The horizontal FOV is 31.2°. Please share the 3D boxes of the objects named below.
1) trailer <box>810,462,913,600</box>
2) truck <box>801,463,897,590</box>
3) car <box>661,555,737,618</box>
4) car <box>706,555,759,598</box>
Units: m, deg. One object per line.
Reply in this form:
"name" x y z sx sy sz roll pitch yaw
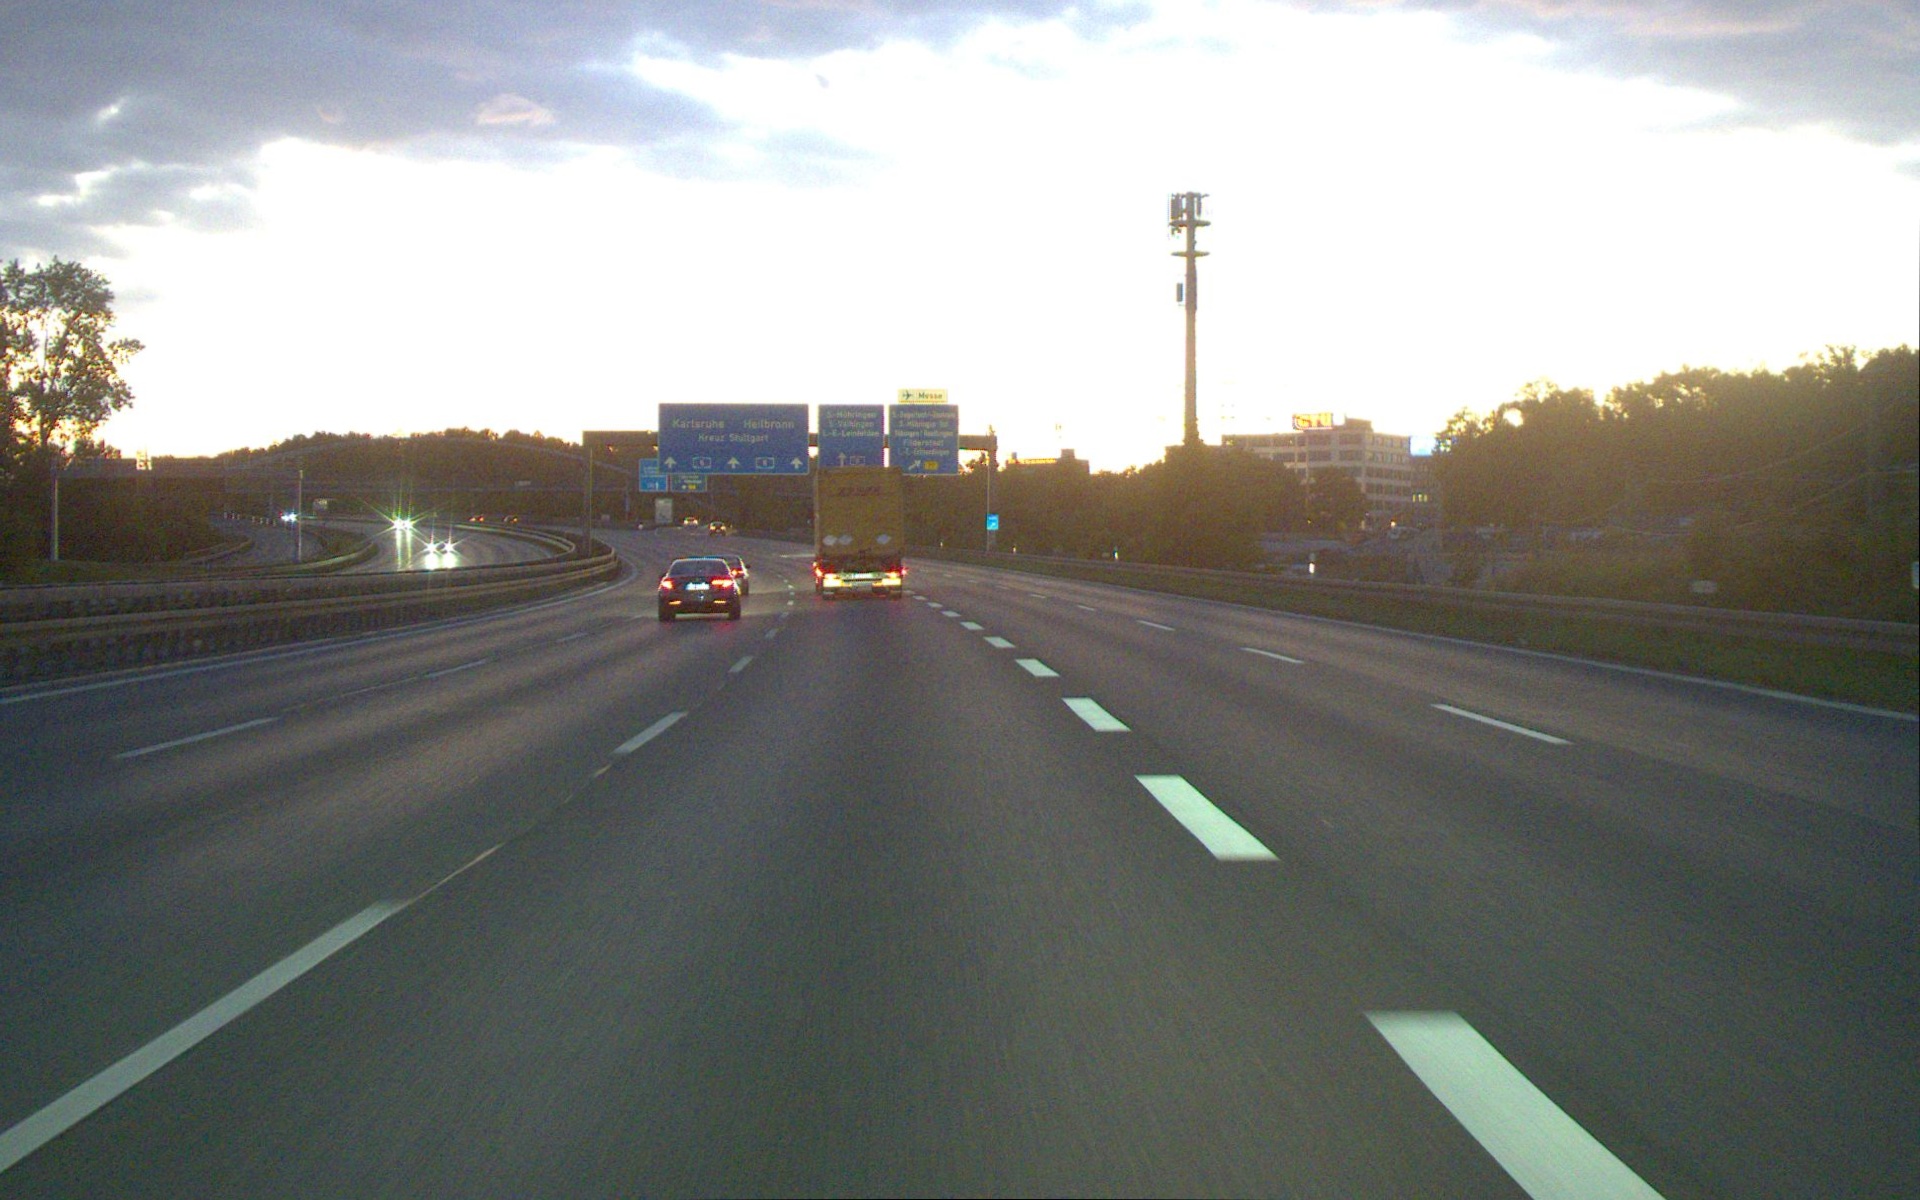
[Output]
"trailer" -3.124 -2.186 106.984 2.721 4.057 8.833 -1 2 -4
"truck" -3.839 -2.524 116.620 2.690 4.057 10.522 -1 2 -4
"car" -6.069 -0.316 80.034 1.689 1.396 3.409 -1 0 -4
"car" -7.846 -0.809 118.760 1.689 1.396 3.409 -2 0 -2
